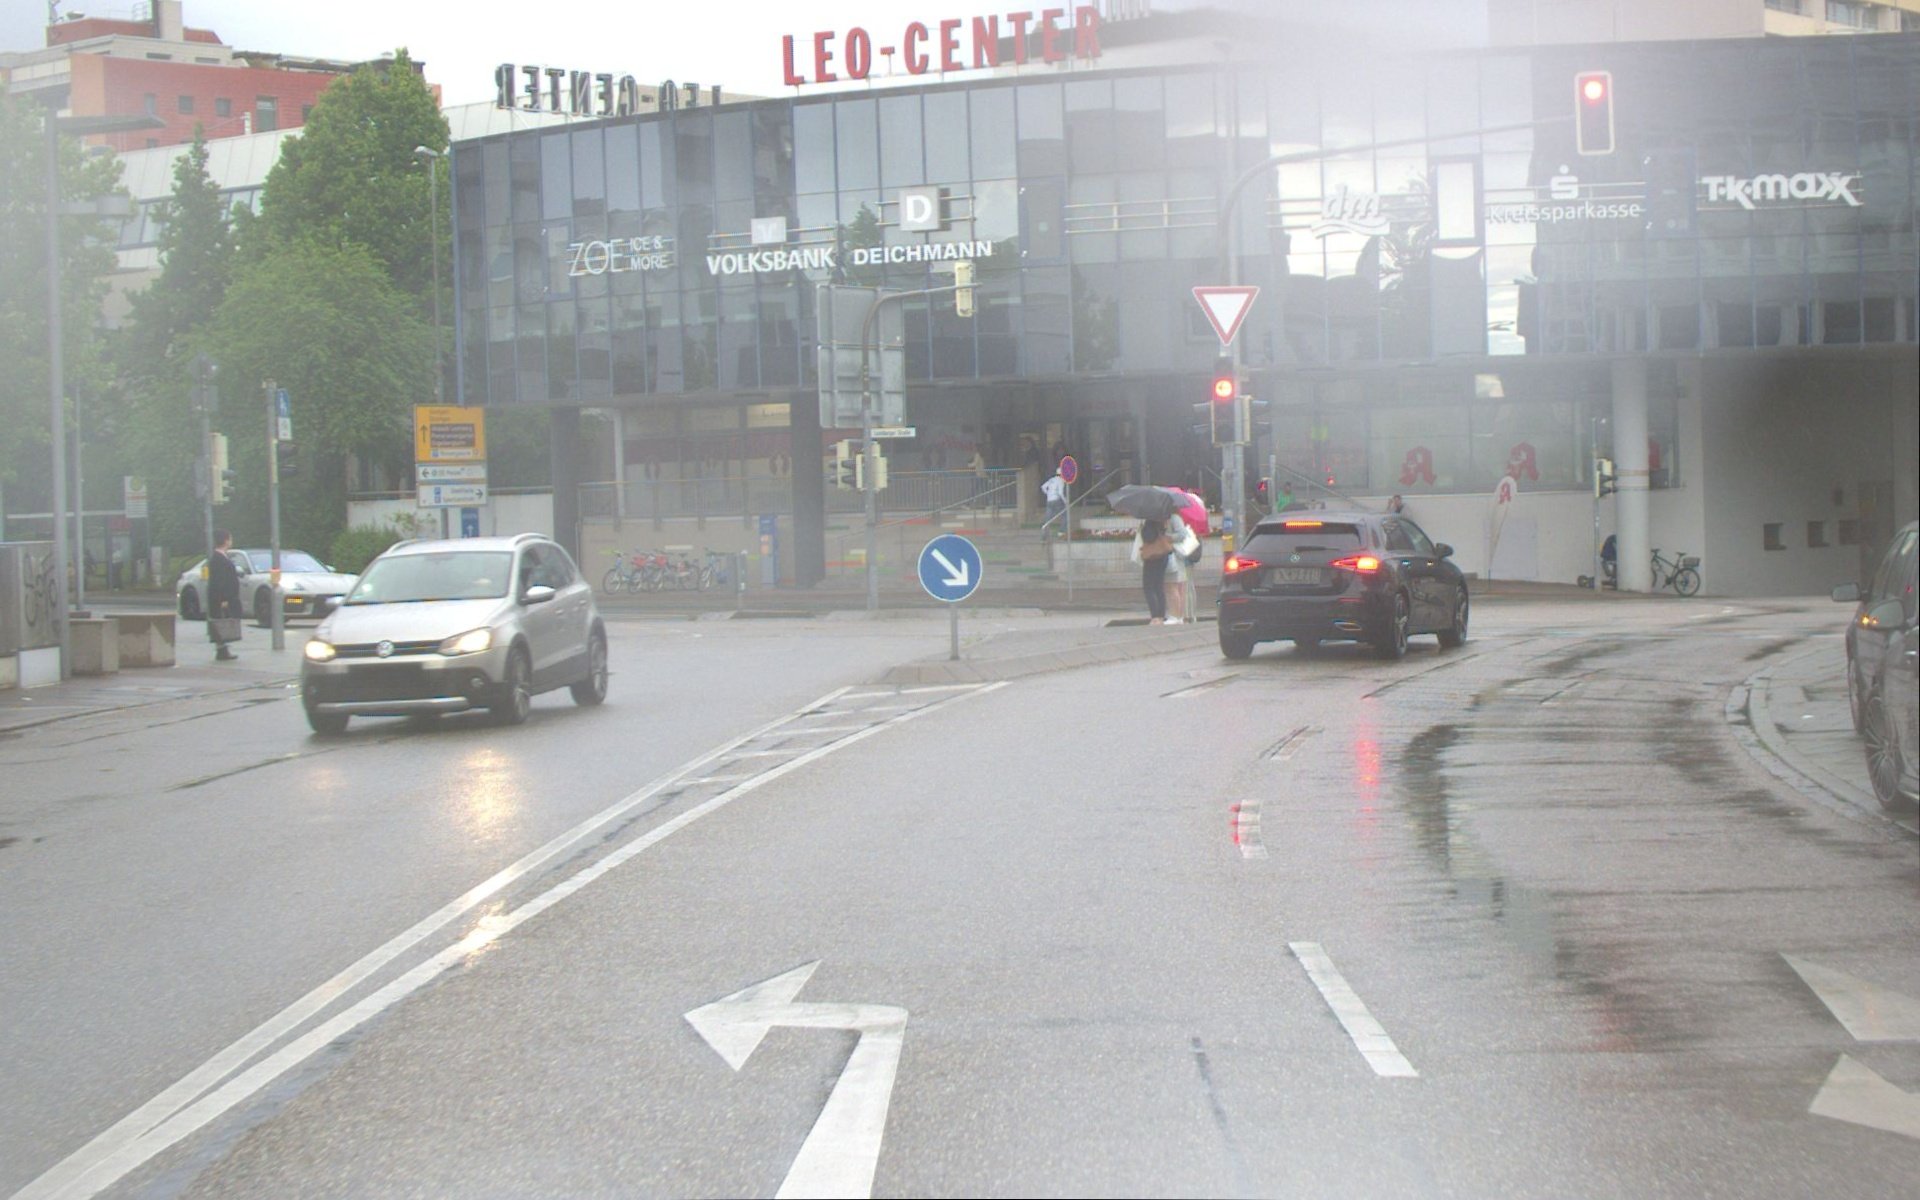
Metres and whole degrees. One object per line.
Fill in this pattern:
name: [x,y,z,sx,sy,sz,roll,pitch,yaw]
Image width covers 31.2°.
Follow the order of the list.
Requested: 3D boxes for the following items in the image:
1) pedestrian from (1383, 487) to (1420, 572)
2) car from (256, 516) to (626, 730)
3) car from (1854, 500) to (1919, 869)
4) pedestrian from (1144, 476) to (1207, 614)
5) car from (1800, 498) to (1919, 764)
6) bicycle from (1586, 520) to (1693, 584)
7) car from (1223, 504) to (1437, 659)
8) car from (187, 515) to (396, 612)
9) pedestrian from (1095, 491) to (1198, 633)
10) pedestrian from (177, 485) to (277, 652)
pedestrian: [10.601,-1.693,82.601,0.788,2.007,0.670,-2,1,11]
car: [-4.093,0.135,27.749,1.825,1.434,3.840,-3,2,9]
car: [5.159,0.340,15.179,1.994,1.528,4.645,0,0,10]
pedestrian: [2.645,-0.678,42.261,0.609,1.653,0.672,2,2,-4]
car: [6.418,0.091,21.837,1.699,1.481,3.999,-4,1,10]
bicycle: [16.190,-1.144,81.948,2.424,1.459,0.656,-1,3,-1]
car: [3.772,-0.226,34.553,1.805,1.414,3.999,-1,2,11]
car: [-12.236,-0.679,62.747,1.994,1.506,4.433,1,3,-37]
pedestrian: [2.245,-0.461,41.417,0.908,1.653,0.755,1,3,-27]
pedestrian: [-9.005,-0.392,42.257,0.749,2.006,0.920,3,1,22]
